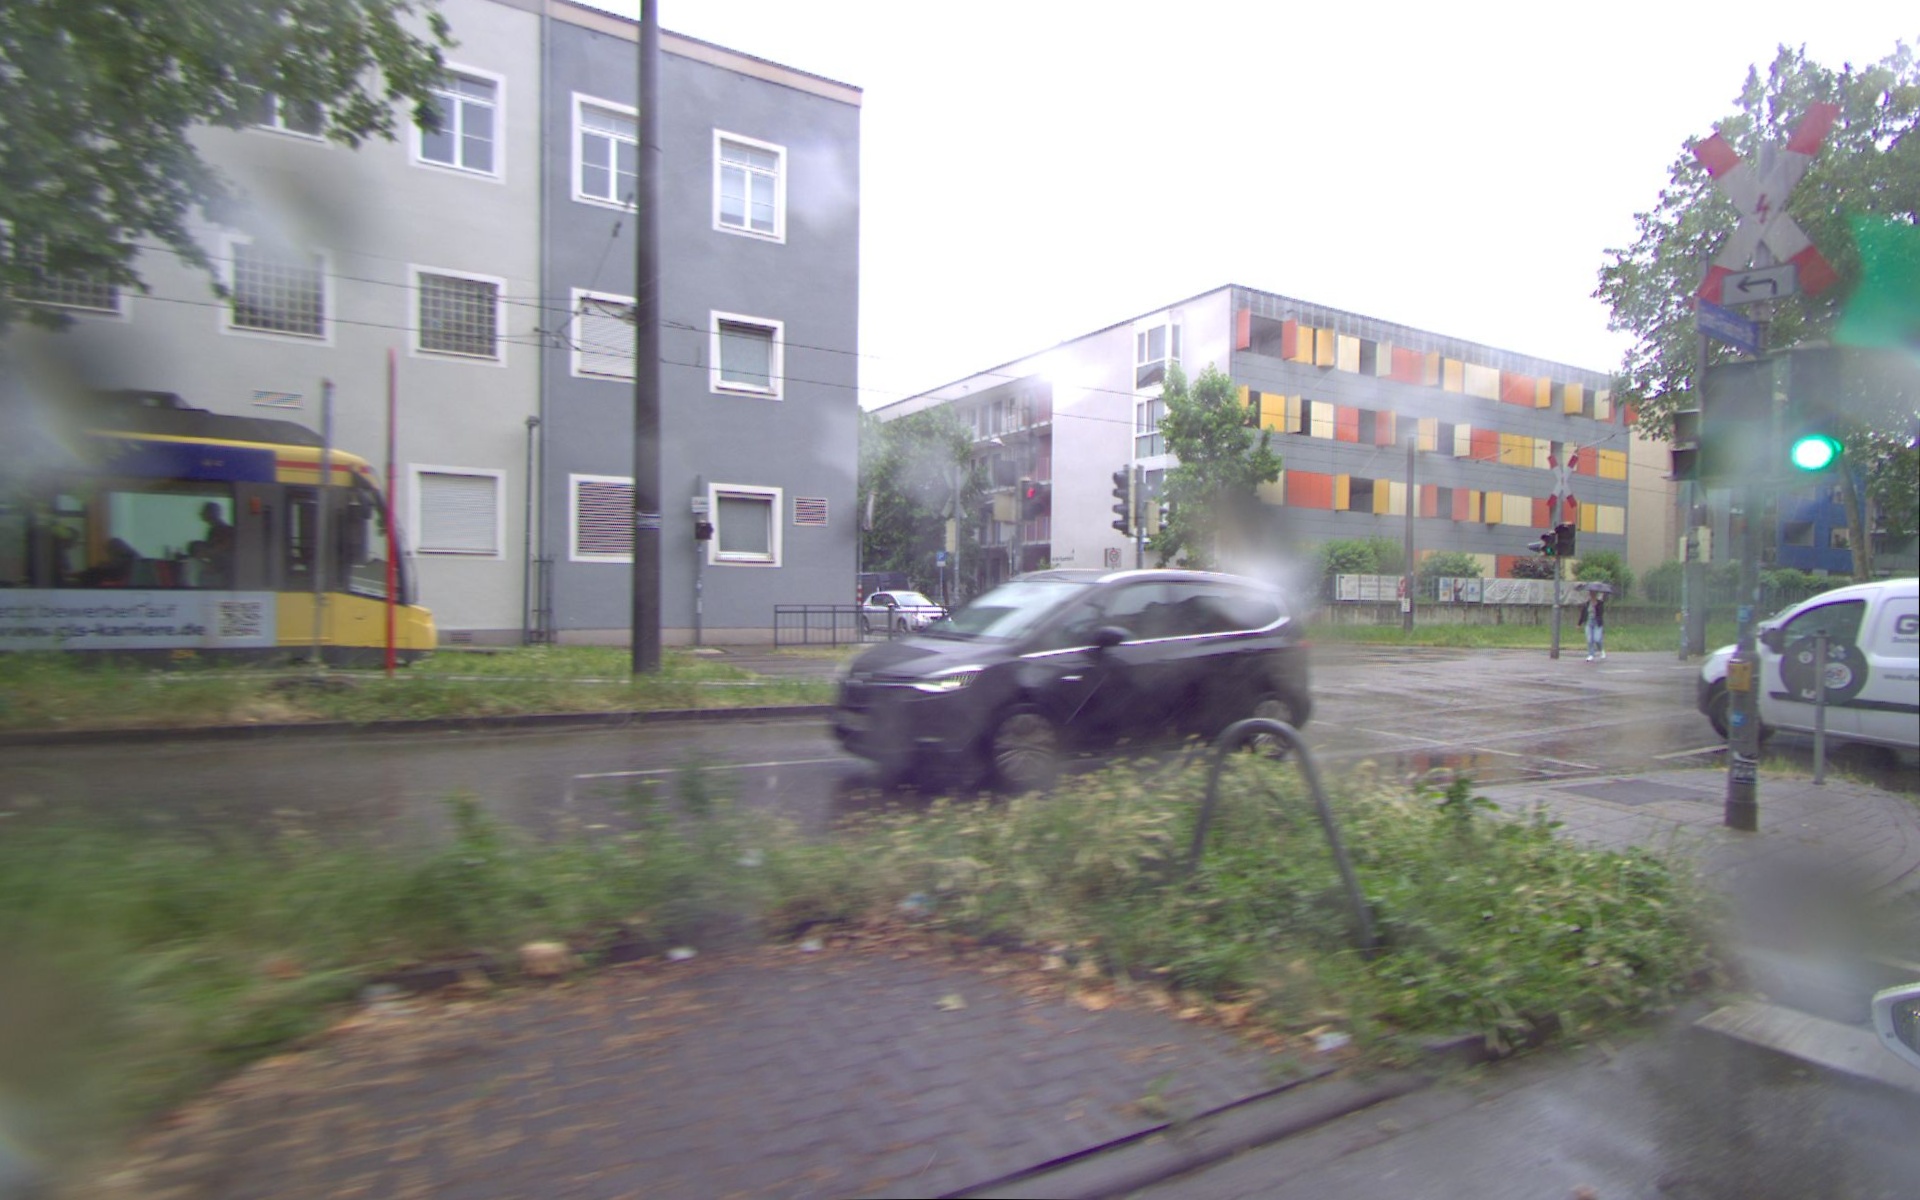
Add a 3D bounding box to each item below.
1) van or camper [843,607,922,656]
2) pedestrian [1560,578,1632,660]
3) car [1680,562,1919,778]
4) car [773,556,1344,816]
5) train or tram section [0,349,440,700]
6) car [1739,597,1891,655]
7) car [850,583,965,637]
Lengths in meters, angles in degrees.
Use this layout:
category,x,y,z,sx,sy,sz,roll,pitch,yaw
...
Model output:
category,x,y,z,sx,sy,sz,roll,pitch,yaw
van or camper,-3.627,1.414,46.330,1.978,2.041,3.964,1,1,-32
pedestrian,14.599,0.428,23.059,1.192,1.824,0.931,1,0,-31
car,9.317,0.613,9.644,1.900,1.874,4.066,1,1,1
car,0.974,0.535,8.527,4.627,1.640,2.042,0,1,-35
train or tram section,-12.202,-0.865,10.997,11.418,3.691,2.885,1,1,-31
car,24.183,0.694,28.377,4.335,1.483,1.895,1,1,-30
car,-1.745,0.276,32.035,1.868,1.548,4.053,0,1,-33
